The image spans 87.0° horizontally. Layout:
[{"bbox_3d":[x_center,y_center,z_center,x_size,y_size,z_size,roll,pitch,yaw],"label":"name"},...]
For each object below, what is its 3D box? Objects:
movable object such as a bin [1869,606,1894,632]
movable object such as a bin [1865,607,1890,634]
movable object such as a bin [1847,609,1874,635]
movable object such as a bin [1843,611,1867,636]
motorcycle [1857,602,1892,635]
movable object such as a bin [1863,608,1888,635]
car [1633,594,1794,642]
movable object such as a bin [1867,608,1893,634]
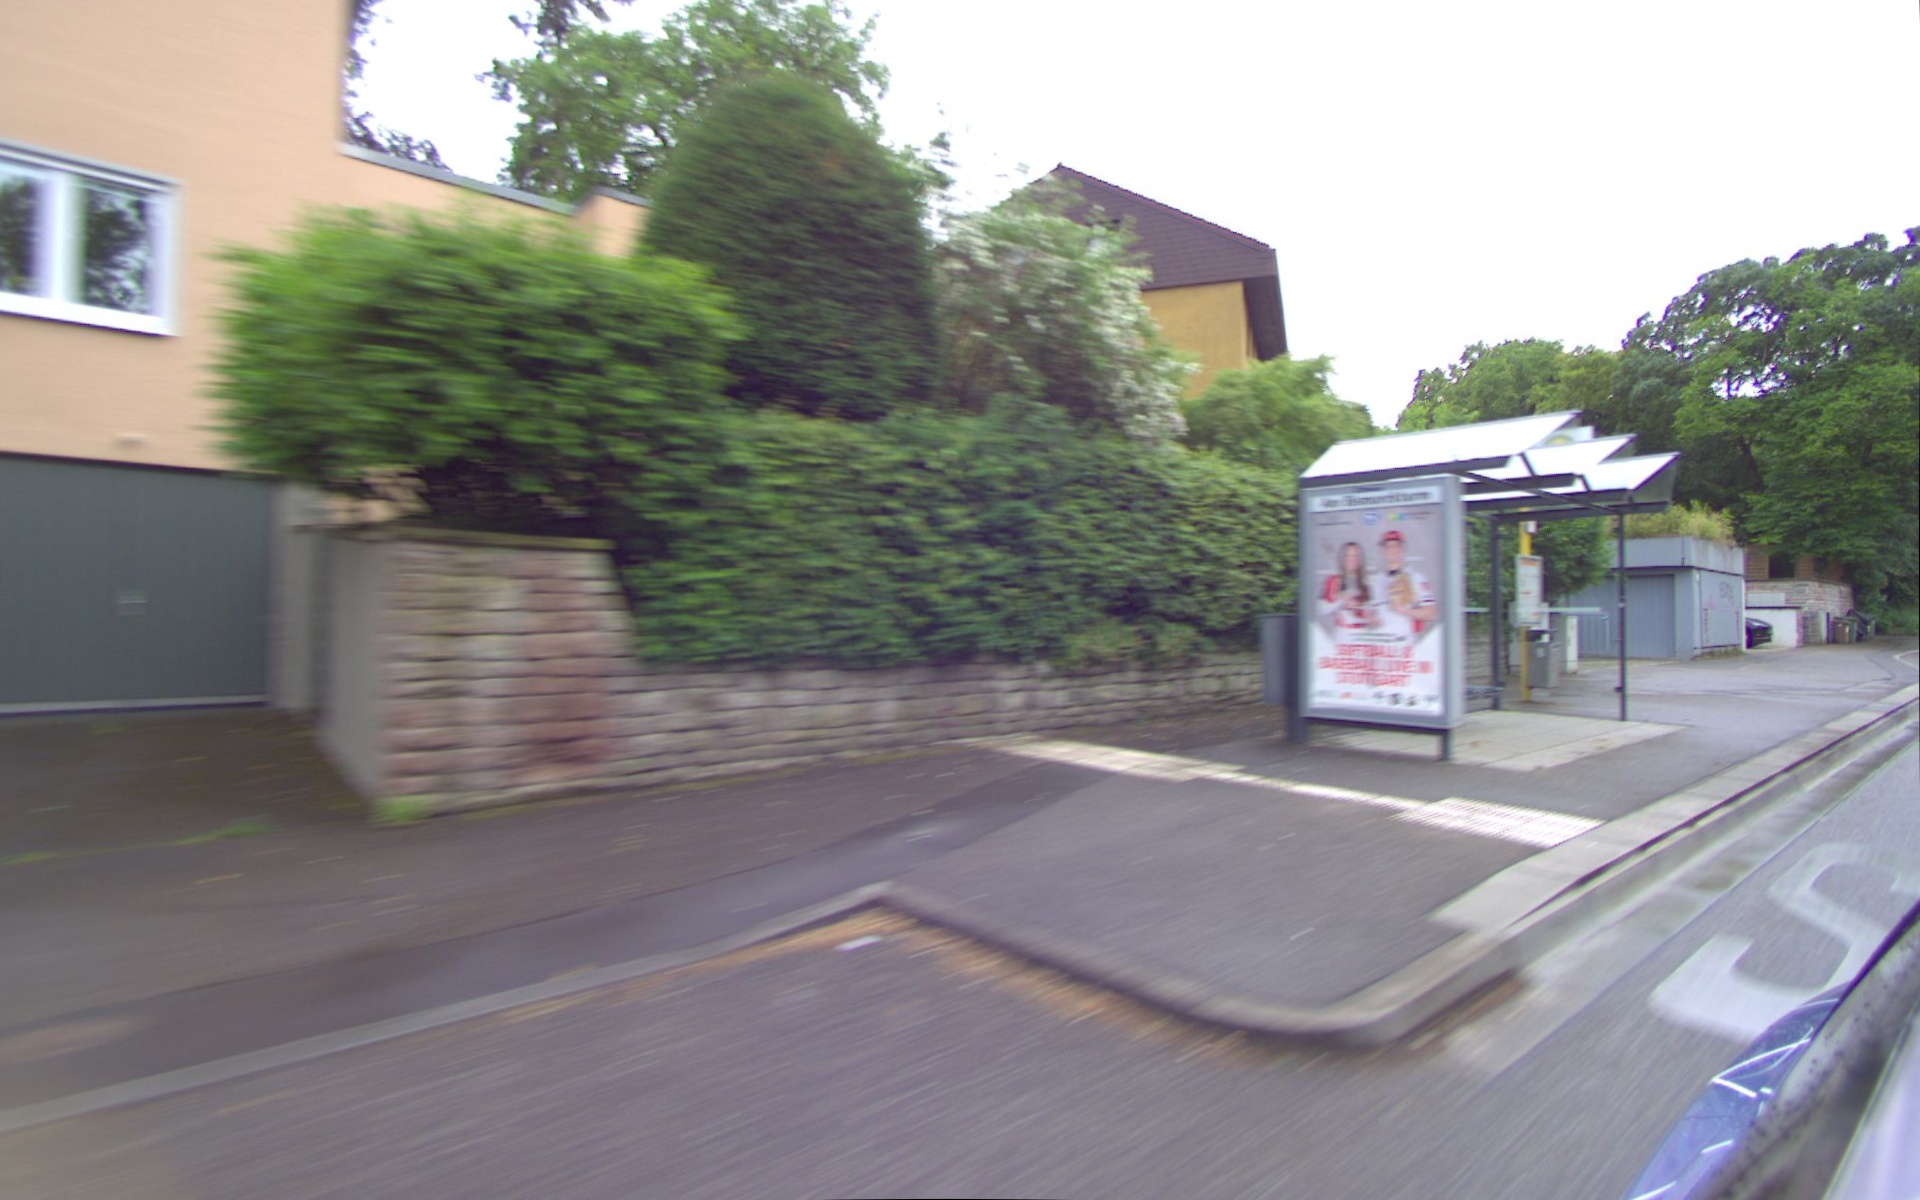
[{"bbox_3d":[38.860,0.795,42.678,0.689,1.082,0.666,0,-2,-40],"label":"movable object such as a bin"},{"bbox_3d":[38.249,0.847,42.178,0.689,1.082,0.666,0,-2,-40],"label":"movable object such as a bin"},{"bbox_3d":[34.844,0.855,39.161,0.648,1.017,0.666,0,-2,-40],"label":"movable object such as a bin"},{"bbox_3d":[34.252,0.905,38.732,0.540,0.949,0.569,0,-2,-40],"label":"movable object such as a bin"},{"bbox_3d":[36.171,0.710,40.024,1.978,1.261,0.776,0,-2,-41],"label":"motorcycle"},{"bbox_3d":[37.225,0.890,41.143,0.648,1.082,0.666,0,-2,-40],"label":"movable object such as a bin"},{"bbox_3d":[26.247,0.574,35.364,1.862,1.526,4.225,0,1,-41],"label":"car"},{"bbox_3d":[37.805,0.860,41.588,0.648,1.082,0.666,0,-2,-40],"label":"movable object such as a bin"}]
